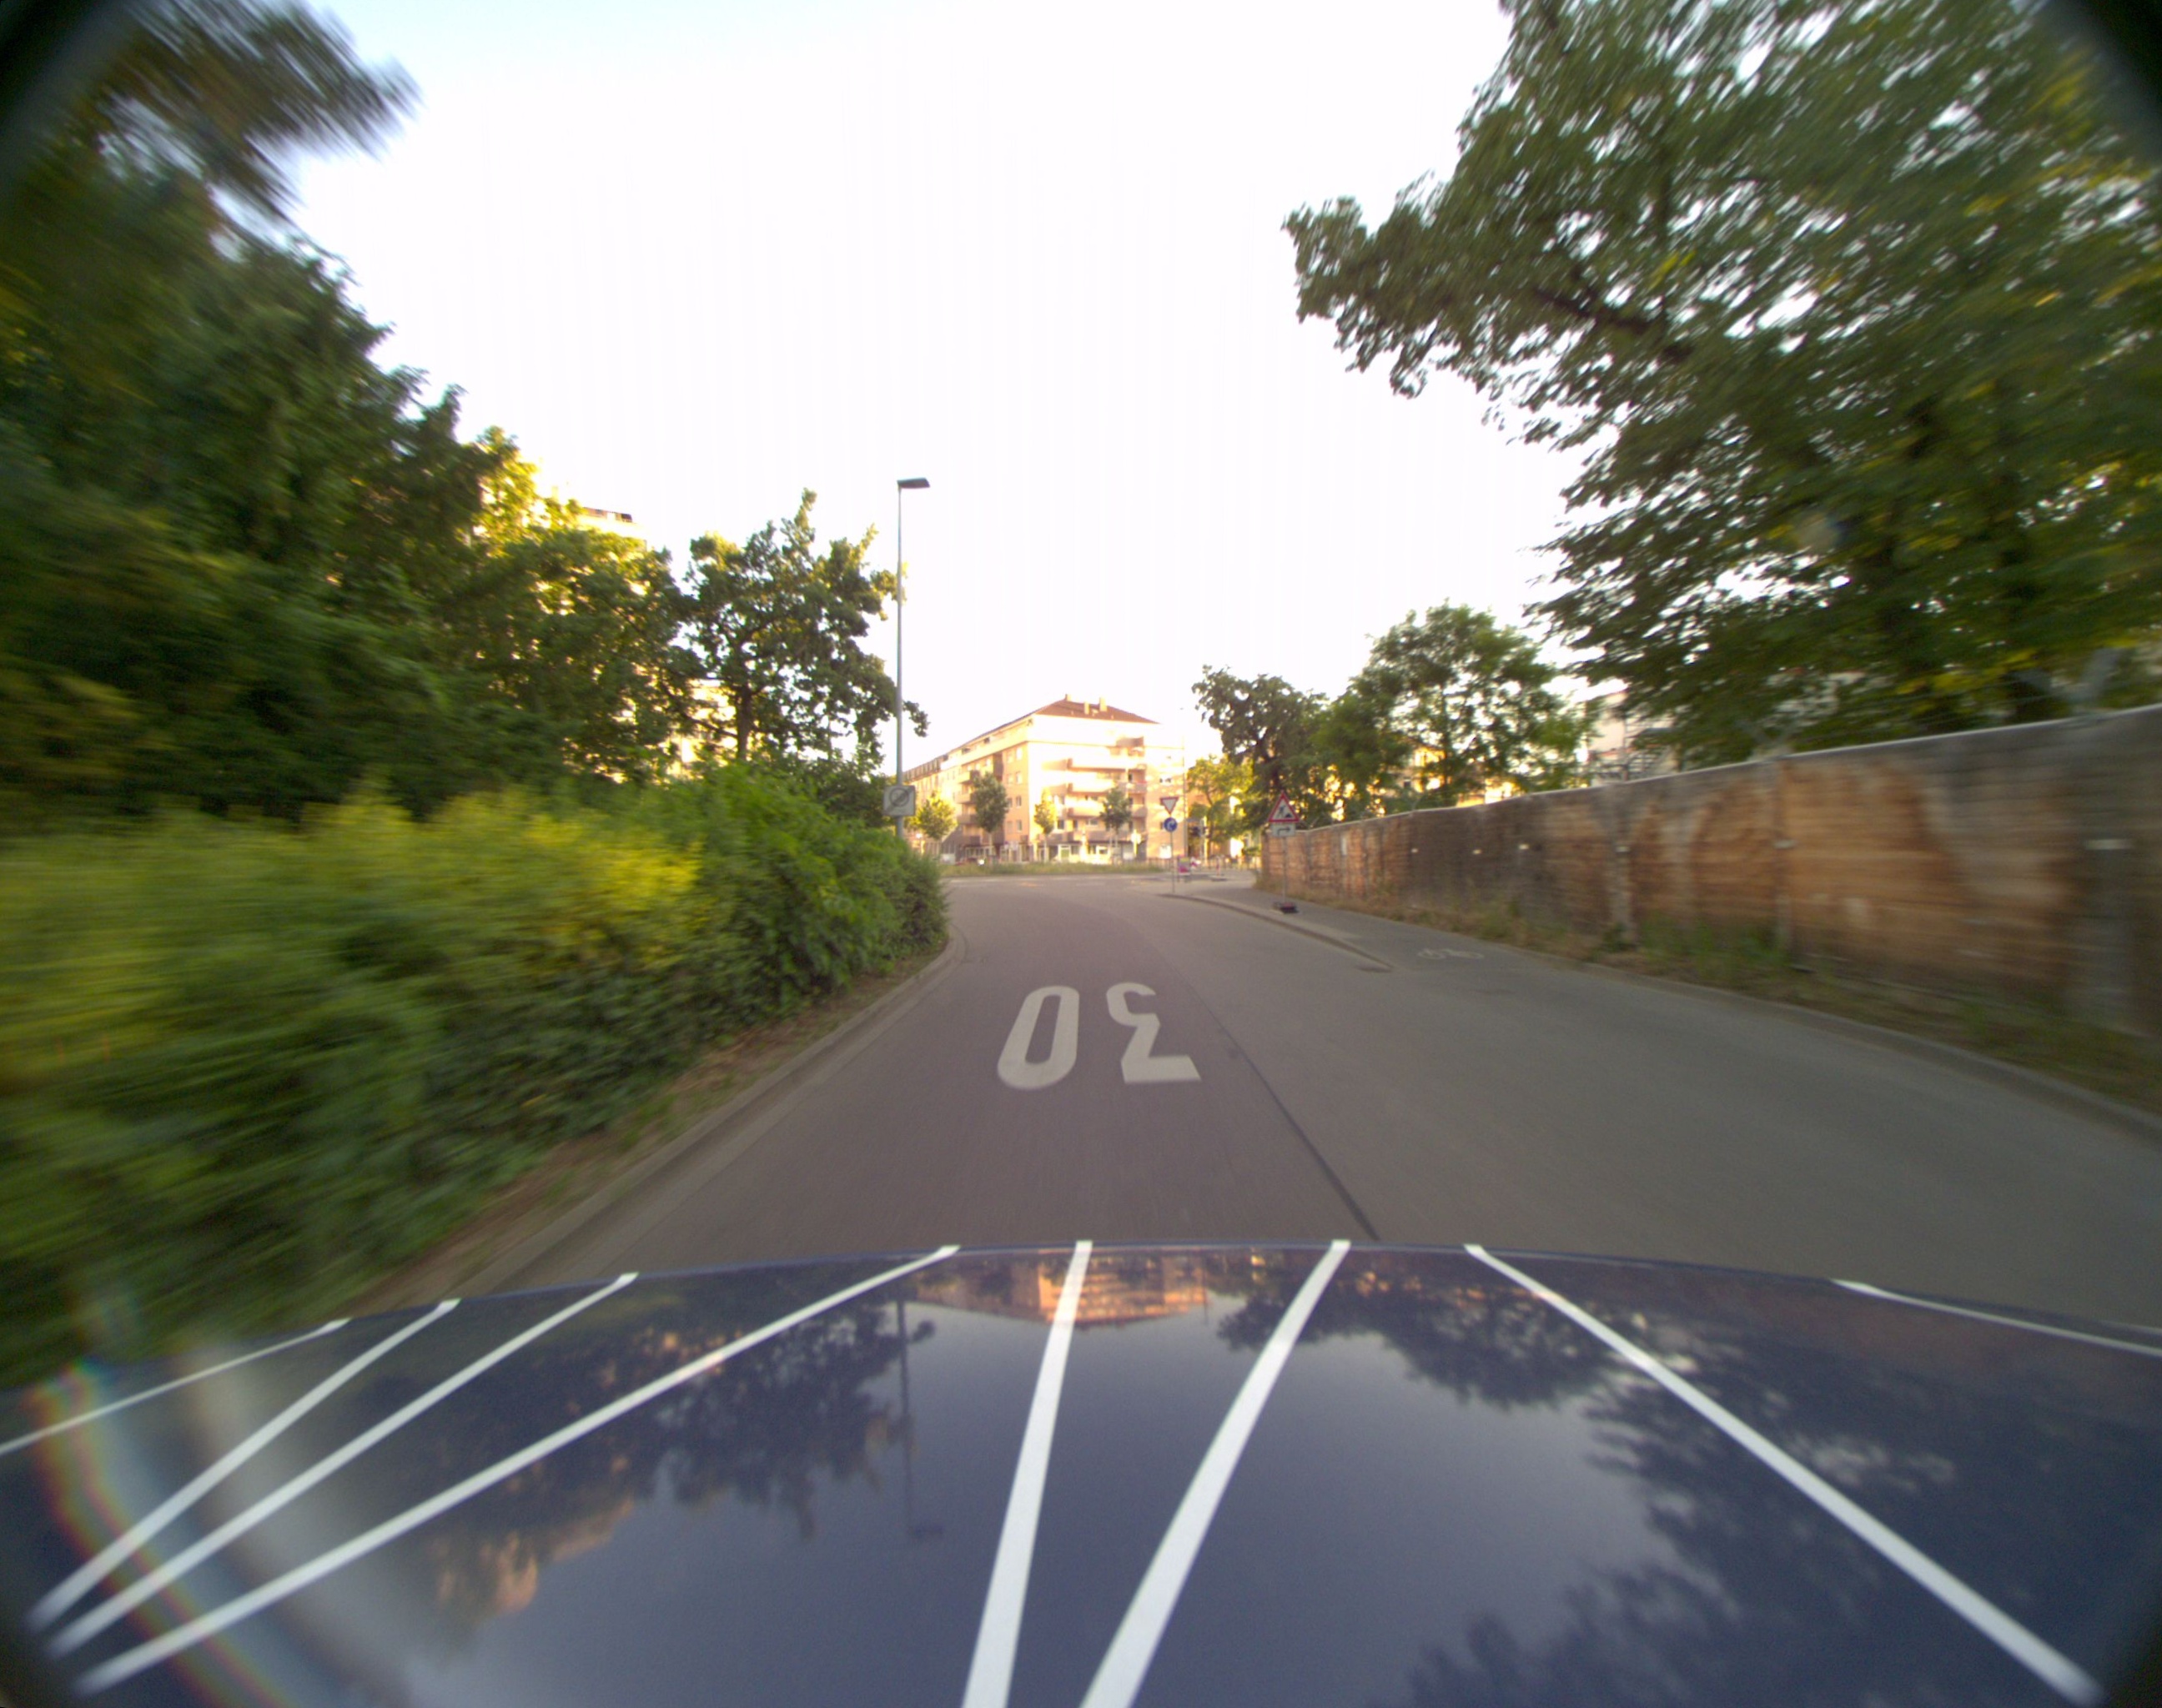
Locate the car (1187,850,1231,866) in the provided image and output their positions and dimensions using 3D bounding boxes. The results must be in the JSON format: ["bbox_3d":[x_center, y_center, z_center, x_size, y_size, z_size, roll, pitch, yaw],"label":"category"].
[{"bbox_3d":[12.796,0.357,75.891,4.006,1.496,1.995,-1,2,-29],"label":"car"}]

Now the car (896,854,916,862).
[{"bbox_3d":[-27.213,0.591,117.905,2.003,1.237,3.991,-1,1,-27],"label":"car"}]

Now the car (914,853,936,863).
[{"bbox_3d":[-22.371,0.561,108.995,2.003,1.237,3.991,-1,1,-27],"label":"car"}]

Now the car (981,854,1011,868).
[{"bbox_3d":[-9.515,0.796,85.148,2.003,1.477,3.991,-1,1,-27],"label":"car"}]

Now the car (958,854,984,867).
[{"bbox_3d":[-13.463,0.767,92.878,2.003,1.477,3.991,-1,1,-27],"label":"car"}]

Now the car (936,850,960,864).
[{"bbox_3d":[-17.550,0.363,100.202,2.003,1.740,3.991,-1,1,-27],"label":"car"}]
